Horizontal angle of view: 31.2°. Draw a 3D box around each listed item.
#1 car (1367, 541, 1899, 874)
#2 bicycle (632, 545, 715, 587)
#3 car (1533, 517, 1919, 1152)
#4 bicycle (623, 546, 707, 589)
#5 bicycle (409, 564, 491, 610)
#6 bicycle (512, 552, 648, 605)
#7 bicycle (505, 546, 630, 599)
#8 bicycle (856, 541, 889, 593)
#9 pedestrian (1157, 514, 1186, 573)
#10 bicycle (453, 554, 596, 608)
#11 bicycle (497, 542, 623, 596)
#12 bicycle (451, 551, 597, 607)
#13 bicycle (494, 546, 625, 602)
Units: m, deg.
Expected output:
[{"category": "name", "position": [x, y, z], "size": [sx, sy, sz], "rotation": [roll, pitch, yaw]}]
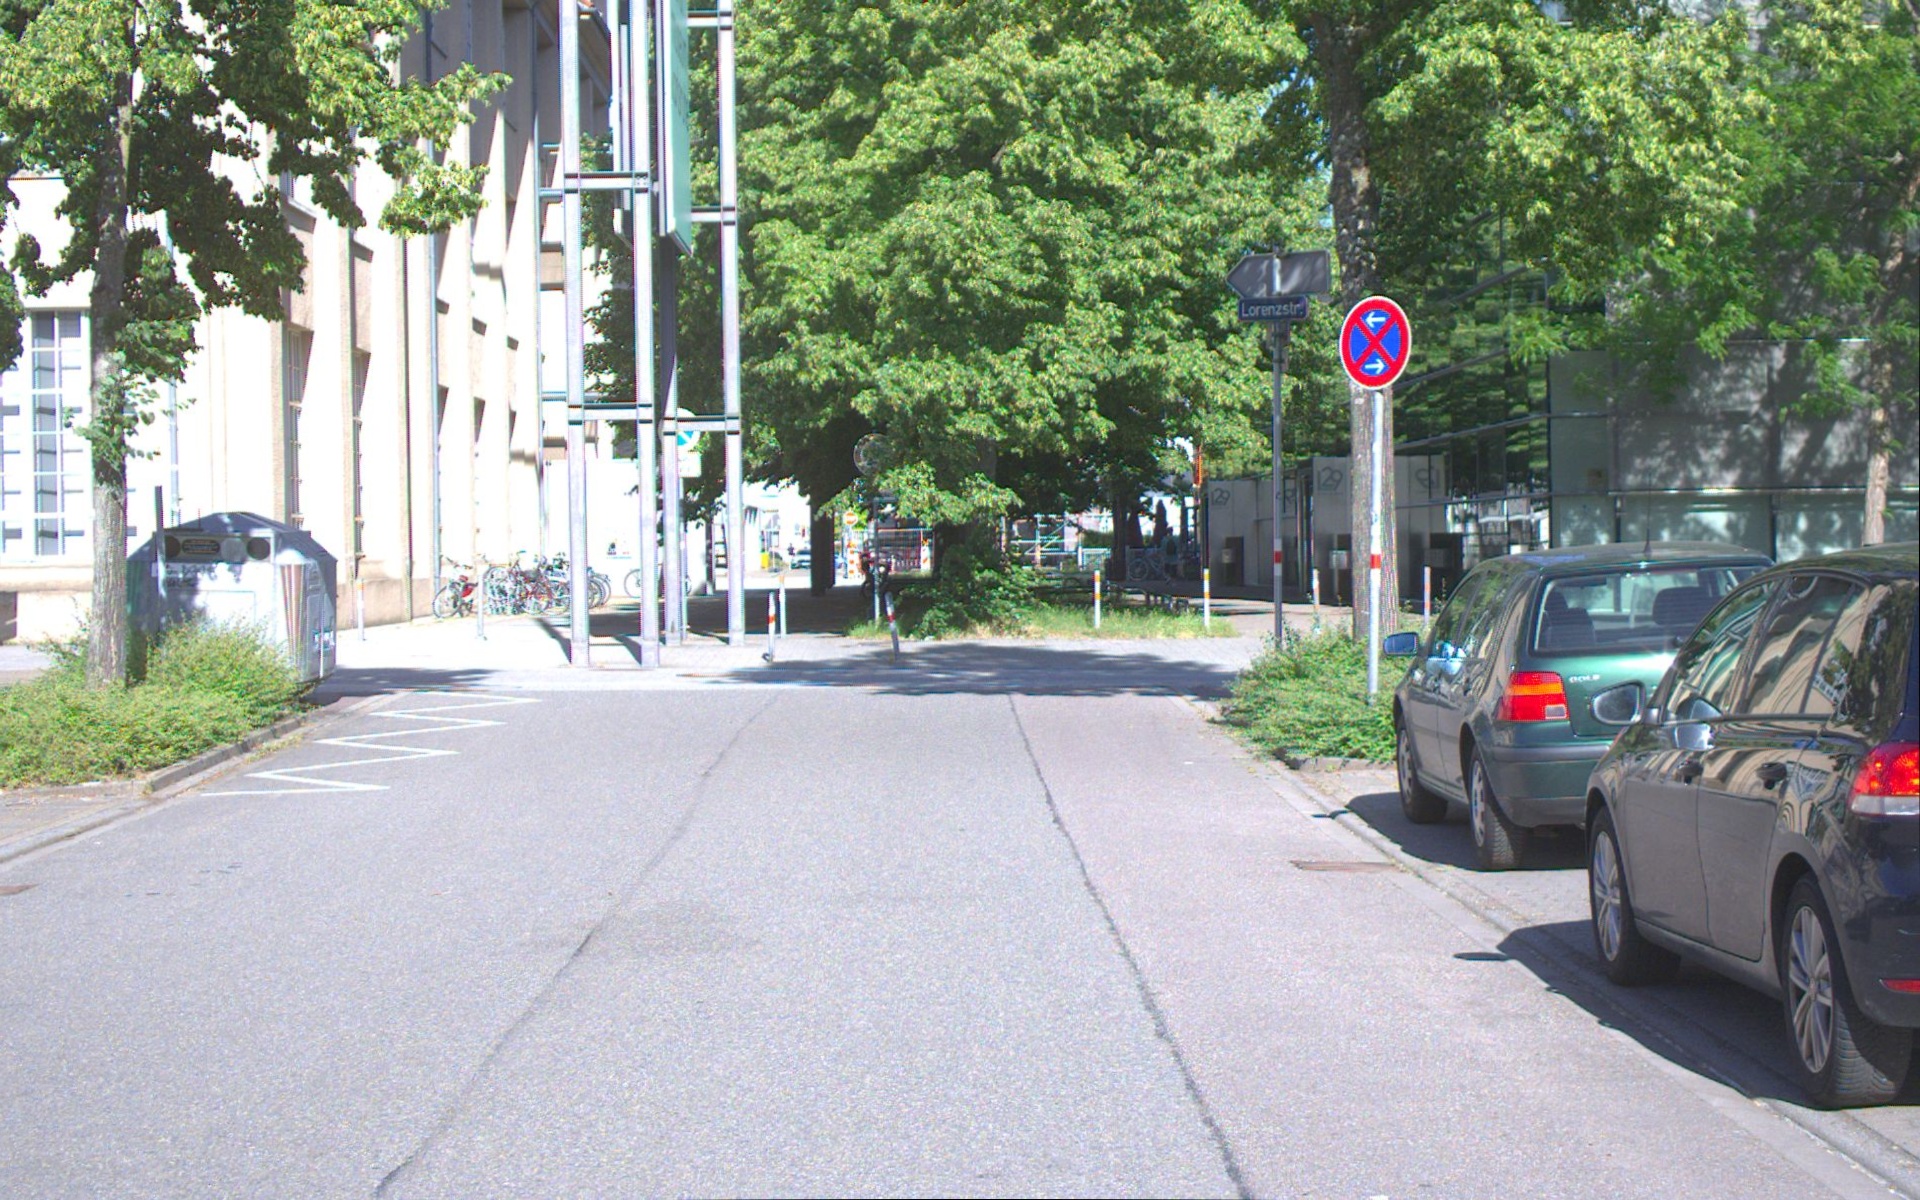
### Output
[{"category": "car", "position": [3.142, 0.443, 16.929], "size": [1.746, 1.417, 4.424], "rotation": [0, 0, 0]}, {"category": "bicycle", "position": [-7.335, -0.870, 88.151], "size": [2.058, 1.062, 0.506], "rotation": [-1, 1, 2]}, {"category": "car", "position": [3.030, 0.515, 10.337], "size": [1.783, 1.511, 4.001], "rotation": [-1, 1, -2]}, {"category": "bicycle", "position": [-7.500, -0.825, 87.388], "size": [2.058, 1.062, 0.506], "rotation": [-1, 1, 2]}, {"category": "bicycle", "position": [-9.625, -0.253, 64.998], "size": [0.778, 0.789, 2.883], "rotation": [0, 1, 7]}, {"category": "bicycle", "position": [-7.989, -0.455, 72.334], "size": [2.800, 1.059, 0.719], "rotation": [-1, 1, -5]}, {"category": "bicycle", "position": [-8.768, -0.622, 76.881], "size": [2.731, 1.147, 0.719], "rotation": [-1, 1, -5]}, {"category": "bicycle", "position": [-2.078, -0.786, 81.617], "size": [0.619, 1.193, 2.132], "rotation": [-1, 1, -6]}, {"category": "pedestrian", "position": [5.586, -1.493, 90.739], "size": [0.717, 1.545, 0.690], "rotation": [-1, 1, 6]}, {"category": "bicycle", "position": [-8.782, -0.390, 69.396], "size": [2.800, 1.059, 0.719], "rotation": [-1, 1, 0]}, {"category": "bicycle", "position": [-8.845, -0.684, 76.090], "size": [2.731, 1.147, 0.719], "rotation": [-1, 1, -5]}, {"category": "bicycle", "position": [-8.587, -0.420, 67.801], "size": [2.800, 1.059, 0.719], "rotation": [-1, 1, -5]}, {"category": "bicycle", "position": [-8.709, -0.576, 74.857], "size": [2.800, 1.147, 0.719], "rotation": [-1, 1, -5]}]
